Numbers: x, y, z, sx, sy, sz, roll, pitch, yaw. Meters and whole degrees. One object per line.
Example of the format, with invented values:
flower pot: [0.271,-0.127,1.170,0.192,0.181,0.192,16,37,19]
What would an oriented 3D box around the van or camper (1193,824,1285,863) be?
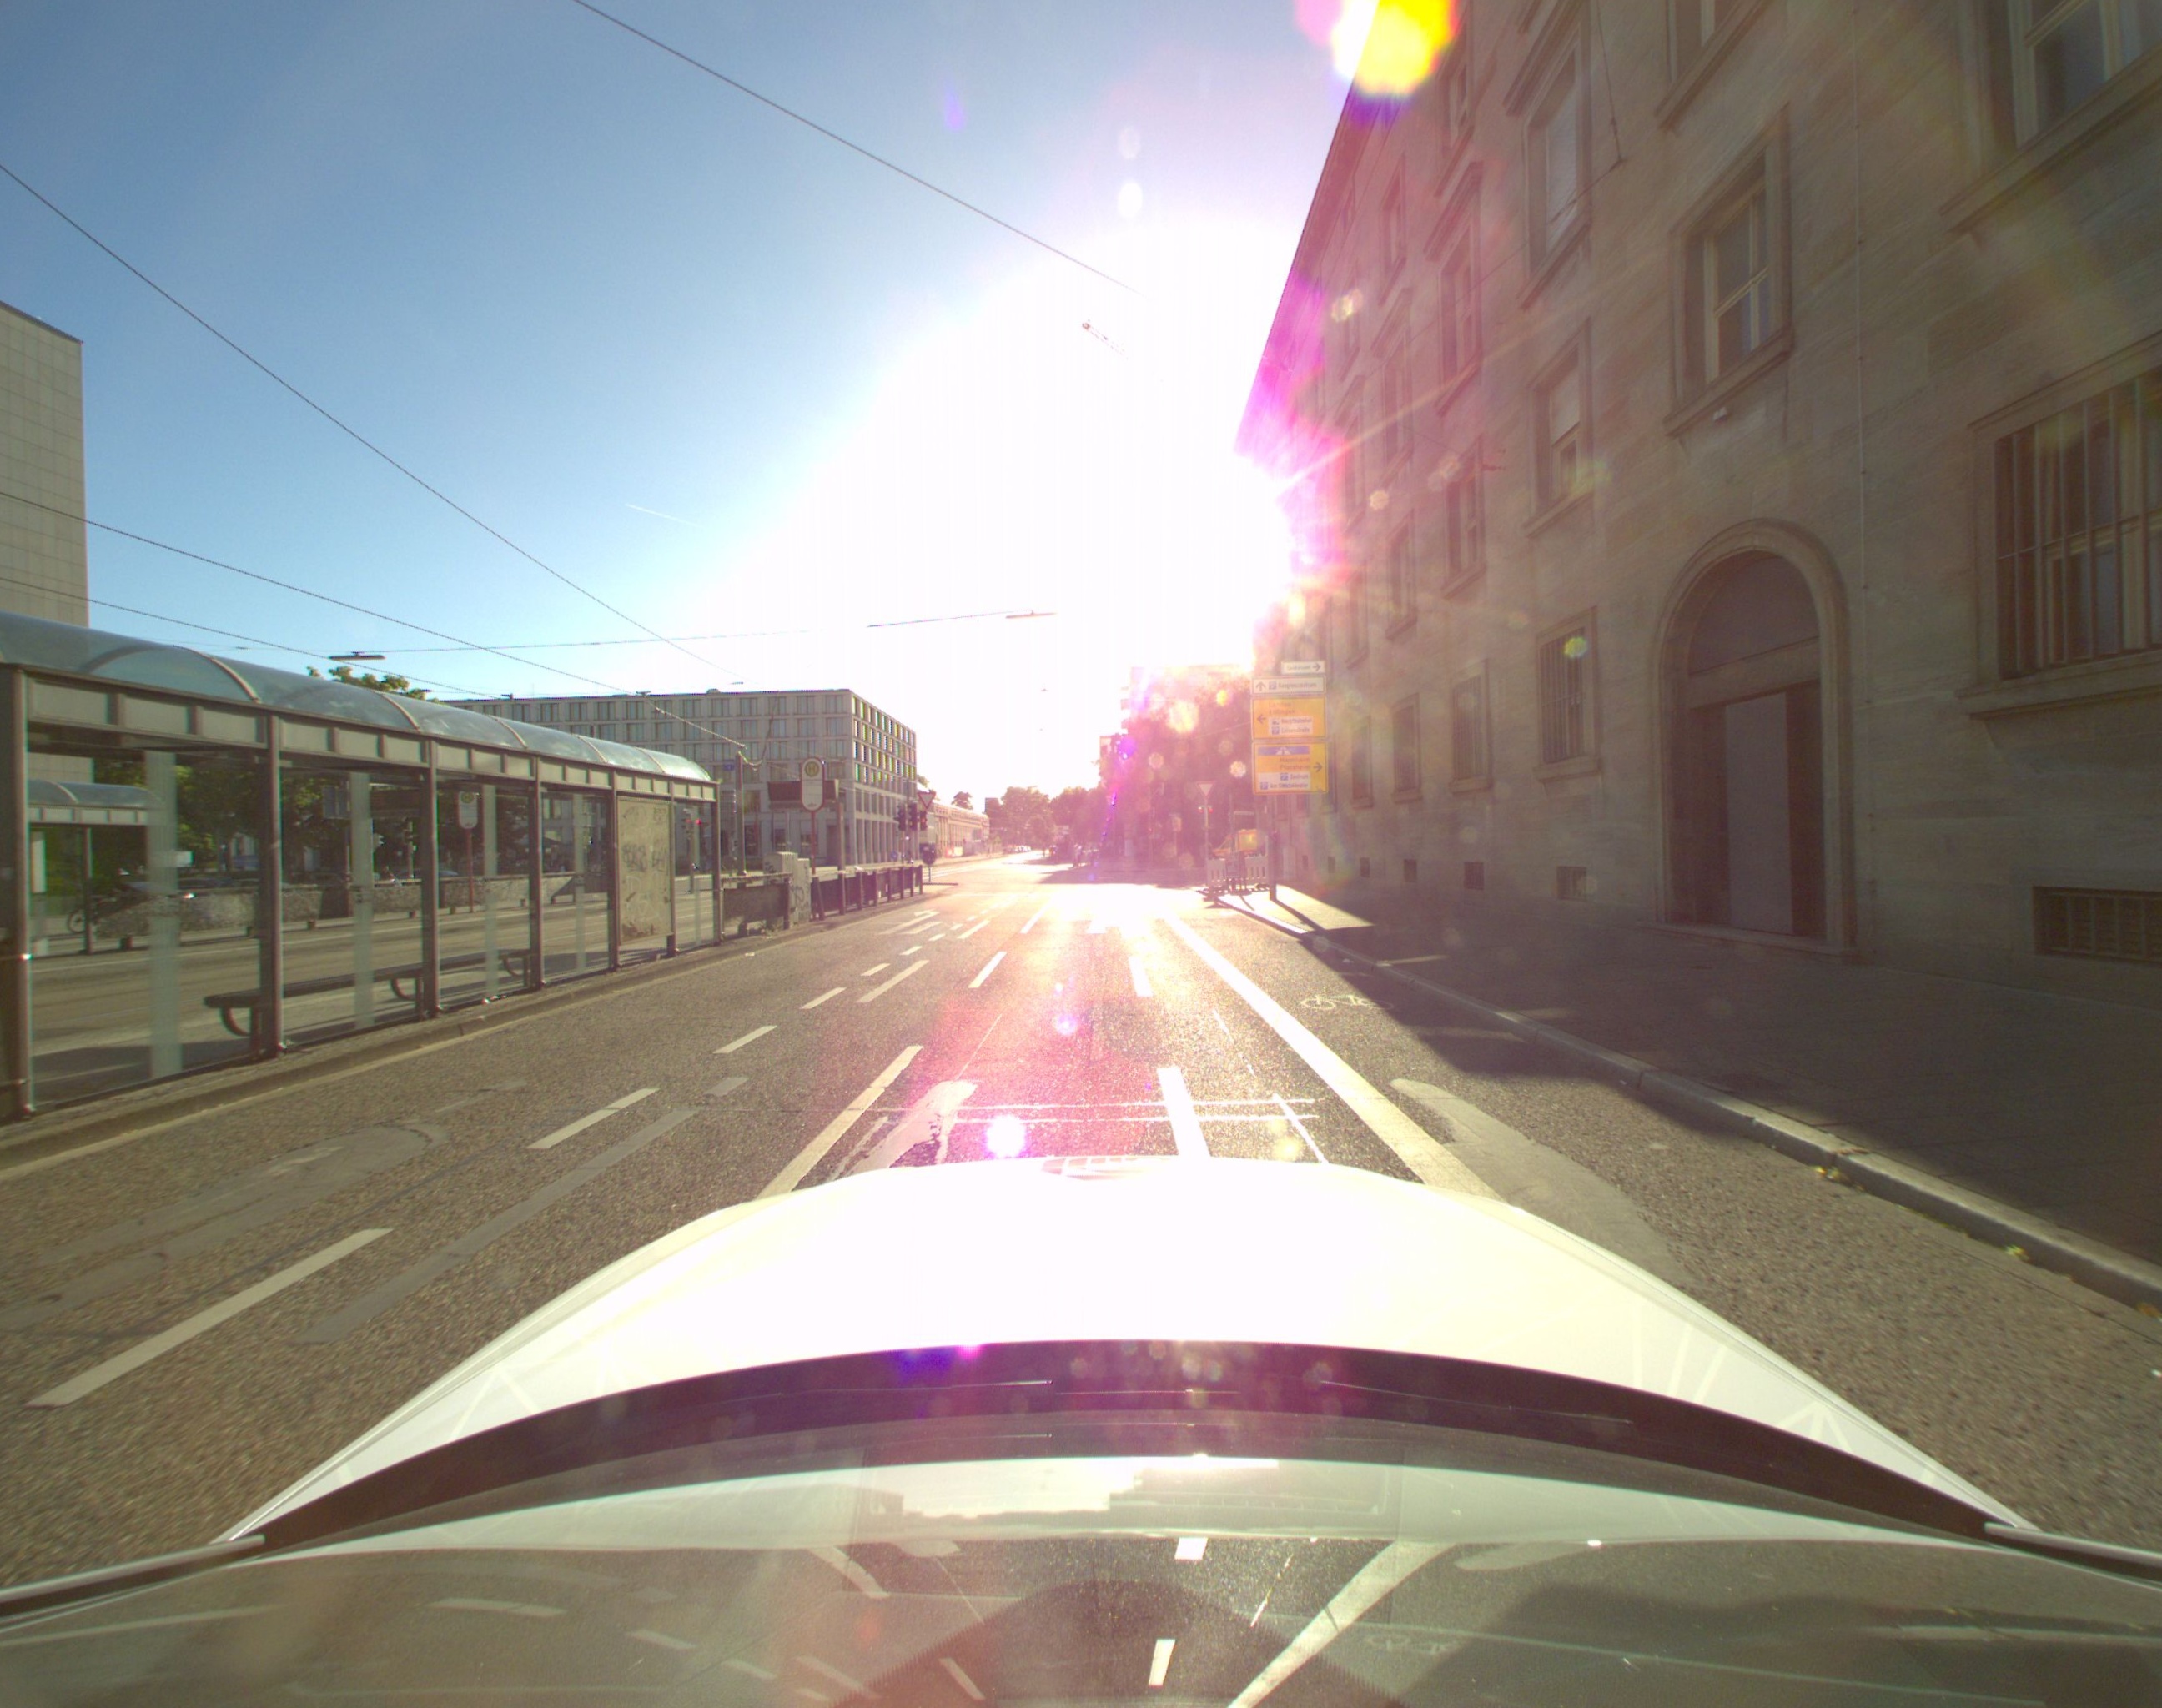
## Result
van or camper: [12.050,-0.787,62.634,6.675,2.861,2.915,0,-1,5]

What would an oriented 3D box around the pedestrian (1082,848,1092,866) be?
pedestrian: [0.532,0.256,71.338,0.763,1.558,0.585,-2,0,-15]

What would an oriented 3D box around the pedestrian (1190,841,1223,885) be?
pedestrian: [5.116,0.359,33.266,1.039,1.721,1.031,-2,0,-10]

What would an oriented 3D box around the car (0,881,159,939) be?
car: [-26.525,1.385,20.207,4.530,1.350,1.574,0,-1,-32]

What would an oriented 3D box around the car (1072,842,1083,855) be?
car: [-0.544,-0.847,132.013,1.678,1.962,3.509,0,-1,1]

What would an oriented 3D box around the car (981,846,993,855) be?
car: [-18.181,-0.712,158.156,1.813,1.712,3.807,-2,0,1]

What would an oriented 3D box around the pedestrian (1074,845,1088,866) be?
pedestrian: [0.028,0.141,69.341,0.967,1.784,0.776,-2,0,-15]

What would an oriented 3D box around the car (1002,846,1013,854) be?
car: [-16.280,-0.971,180.765,1.813,1.712,3.807,-2,0,1]

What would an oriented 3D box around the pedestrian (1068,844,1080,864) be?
pedestrian: [-0.645,0.012,71.600,0.849,1.784,0.776,-2,0,-15]

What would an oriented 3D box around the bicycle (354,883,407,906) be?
bicycle: [-36.551,2.110,42.531,1.926,1.122,0.786,-2,0,-14]

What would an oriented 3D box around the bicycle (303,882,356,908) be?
bicycle: [-39.112,2.130,42.402,2.037,1.288,0.888,-2,0,6]

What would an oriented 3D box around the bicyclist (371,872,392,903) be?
bicyclist: [-36.491,1.747,42.497,0.619,1.582,0.591,-2,0,-15]

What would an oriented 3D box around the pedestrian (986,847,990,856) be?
pedestrian: [-16.161,-0.402,141.372,0.522,1.484,0.437,0,-1,0]

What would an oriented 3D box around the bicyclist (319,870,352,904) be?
bicyclist: [-38.801,1.705,42.377,0.885,1.694,0.846,-2,0,7]

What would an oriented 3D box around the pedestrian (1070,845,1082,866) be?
pedestrian: [-0.425,0.097,70.804,0.849,1.784,0.776,-2,0,-15]

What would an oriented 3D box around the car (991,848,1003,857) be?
car: [-17.438,-0.300,168.941,1.813,1.712,3.807,-2,0,1]

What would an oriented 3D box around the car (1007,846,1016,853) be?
car: [-15.787,-1.068,184.643,1.604,1.498,3.807,-2,0,1]

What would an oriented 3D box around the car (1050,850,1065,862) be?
car: [-3.084,0.241,107.169,1.678,1.501,3.509,0,0,1]

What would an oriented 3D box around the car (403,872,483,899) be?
car: [-38.520,1.913,49.206,3.520,1.506,1.522,-1,0,-1]

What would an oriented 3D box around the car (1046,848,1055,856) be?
car: [-6.468,-0.354,173.234,1.678,1.737,3.509,0,0,1]

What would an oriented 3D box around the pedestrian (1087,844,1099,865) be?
pedestrian: [1.017,0.079,70.613,0.849,1.784,0.776,-2,0,-15]
